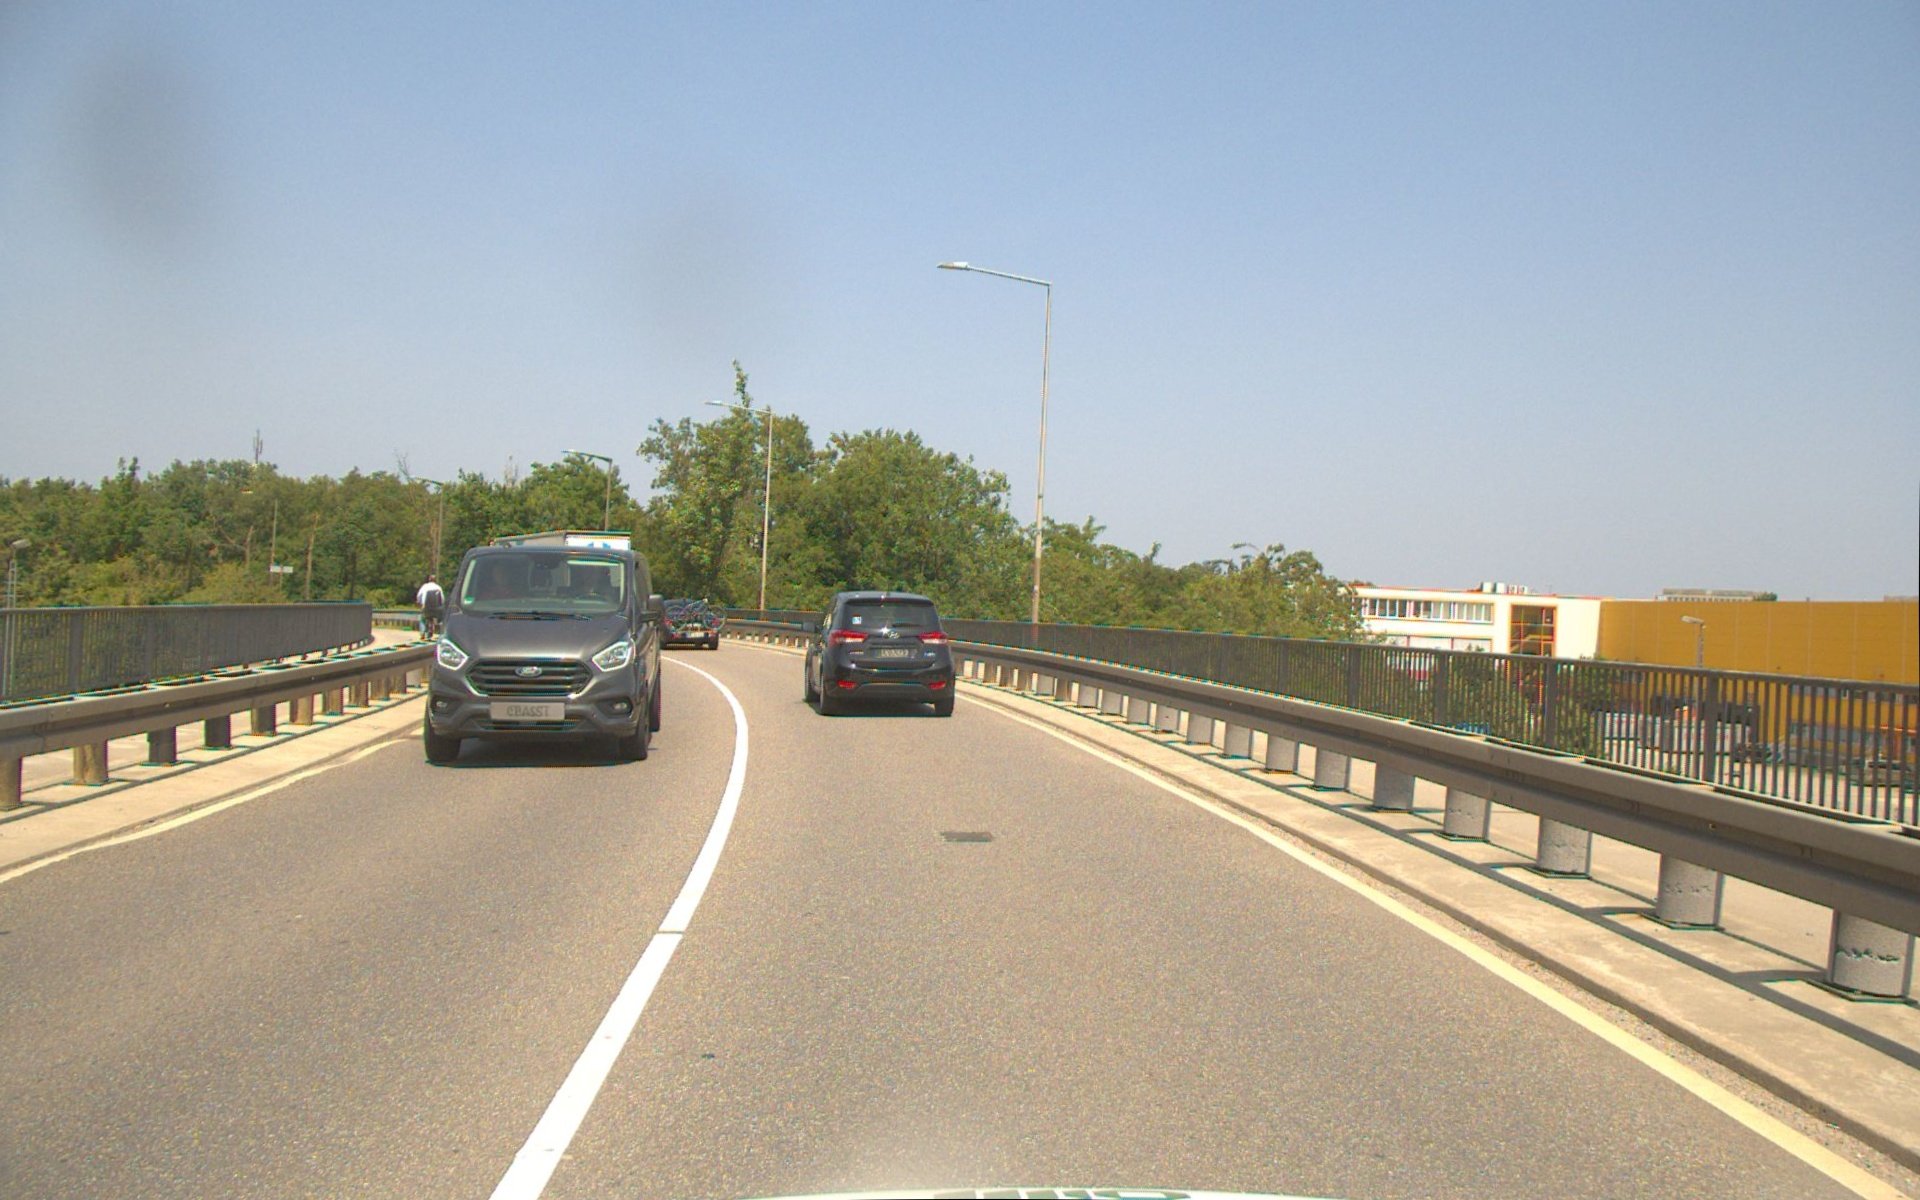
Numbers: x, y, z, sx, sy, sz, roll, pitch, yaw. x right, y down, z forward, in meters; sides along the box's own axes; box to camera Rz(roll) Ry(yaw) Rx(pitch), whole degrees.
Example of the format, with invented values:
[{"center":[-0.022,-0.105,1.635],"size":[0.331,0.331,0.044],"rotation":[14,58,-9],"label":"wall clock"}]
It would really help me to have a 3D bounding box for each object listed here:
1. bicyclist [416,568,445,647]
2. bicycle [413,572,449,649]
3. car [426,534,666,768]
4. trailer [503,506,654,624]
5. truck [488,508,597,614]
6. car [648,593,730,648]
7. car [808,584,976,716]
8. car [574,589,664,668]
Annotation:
[{"center":[-13.071,0.174,40.855],"size":[0.615,1.919,0.708],"rotation":[1,0,-22],"label":"bicyclist"},{"center":[-13.045,0.238,40.757],"size":[0.688,1.833,2.167],"rotation":[1,1,-21],"label":"bicycle"},{"center":[-4.017,0.452,16.865],"size":[1.970,1.993,5.258],"rotation":[0,0,-10],"label":"car"},{"center":[-16.035,-1.431,68.664],"size":[3.527,4.460,11.343],"rotation":[1,1,-26],"label":"trailer"},{"center":[-18.879,-1.711,74.443],"size":[3.528,4.518,6.462],"rotation":[1,1,-26],"label":"truck"},{"center":[-7.894,0.563,47.972],"size":[1.978,1.454,3.762],"rotation":[1,1,-15],"label":"car"},{"center":[-1.011,0.610,22.554],"size":[1.885,1.601,3.884],"rotation":[1,1,-8],"label":"car"},{"center":[-7.786,0.595,37.530],"size":[1.860,1.624,4.471],"rotation":[1,1,-13],"label":"car"}]
